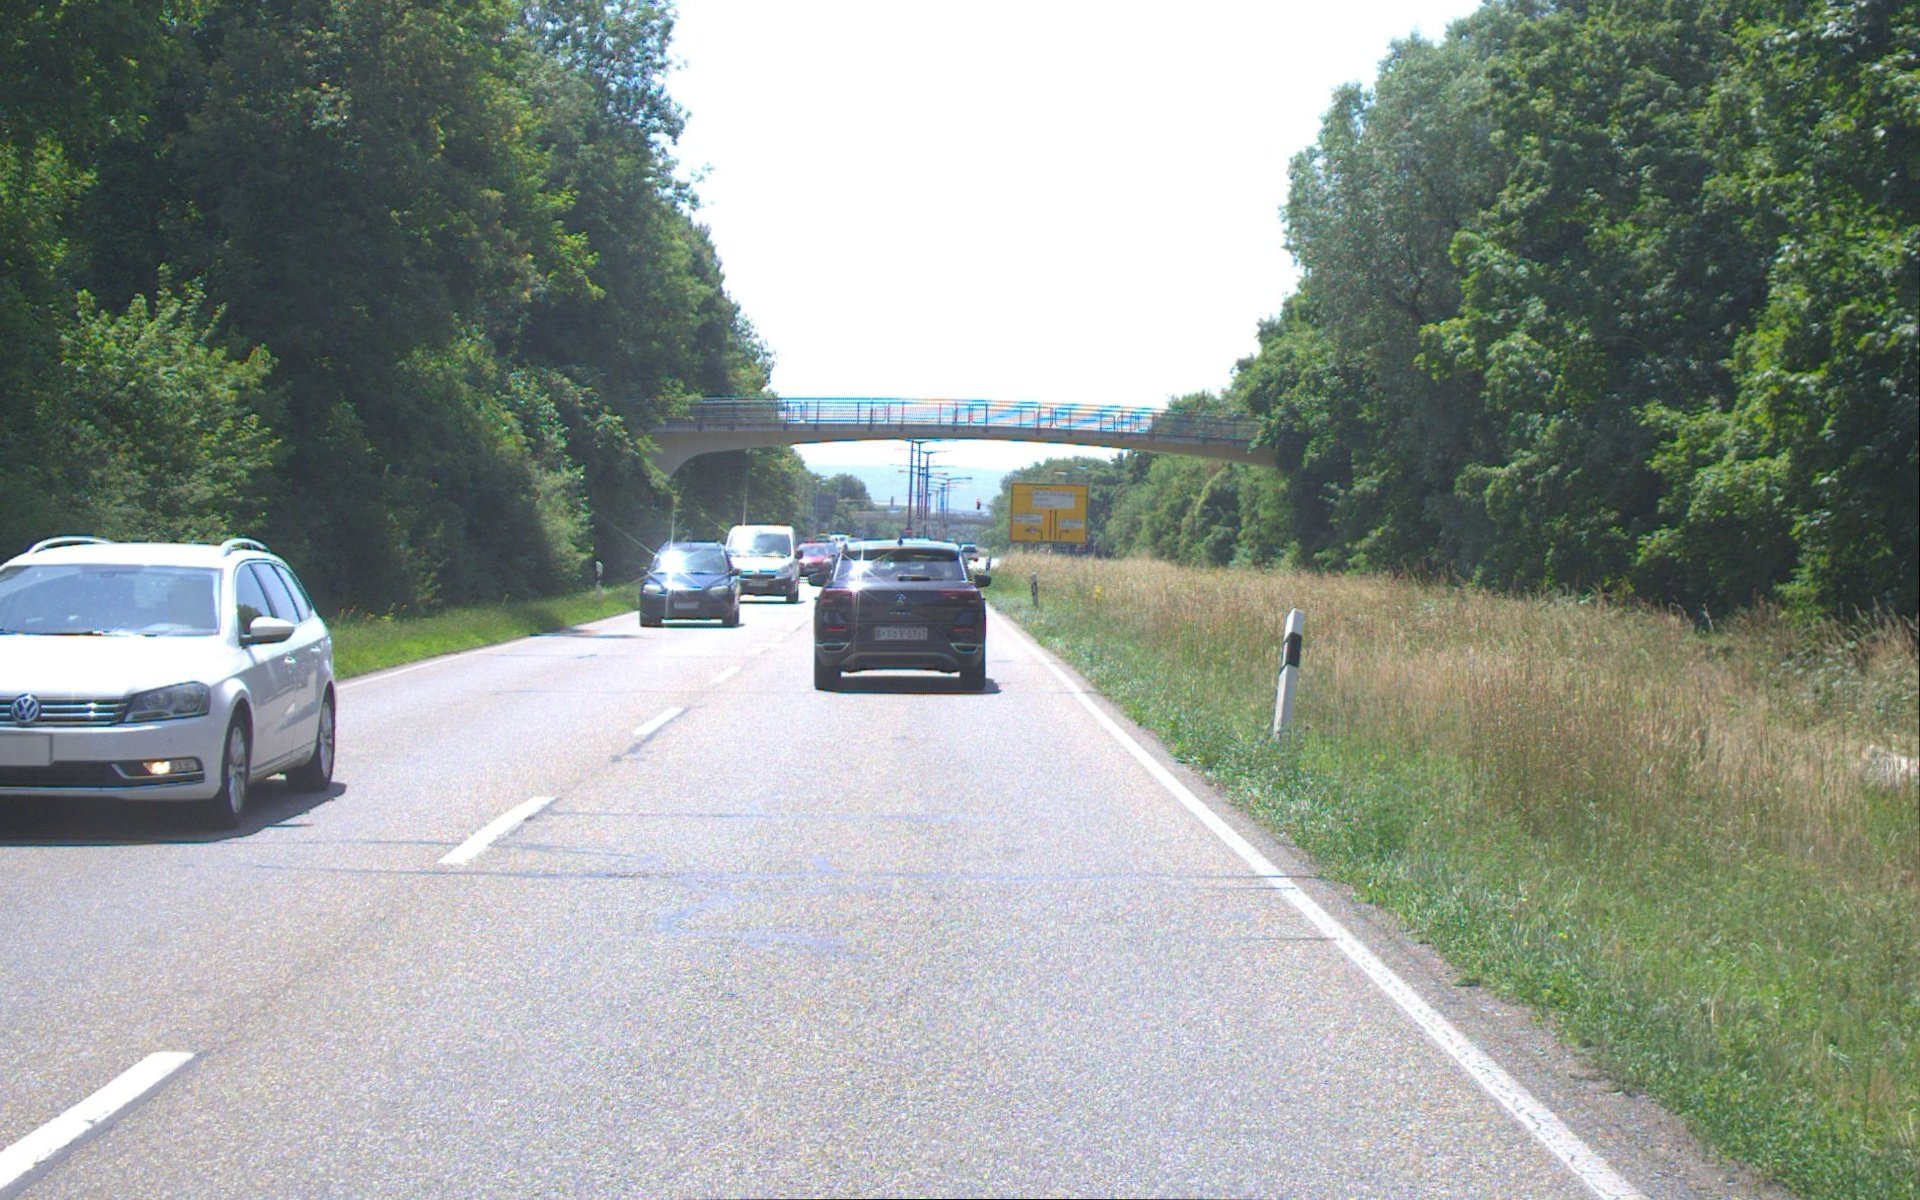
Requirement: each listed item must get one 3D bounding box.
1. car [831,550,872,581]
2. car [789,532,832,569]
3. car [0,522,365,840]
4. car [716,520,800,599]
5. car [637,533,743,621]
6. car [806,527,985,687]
[{"bbox_3d":[-5.319,-1.698,168.956,1.784,1.444,4.109,0,1,1],"label":"car"},{"bbox_3d":[-6.201,-2.068,142.896,1.682,1.488,4.000,0,1,-1],"label":"car"},{"bbox_3d":[-4.561,0.342,18.976,1.839,1.531,4.659,0,1,-1],"label":"car"},{"bbox_3d":[-5.085,-1.047,87.030,1.875,1.922,4.988,1,1,-1],"label":"car"},{"bbox_3d":[-4.858,-0.427,62.297,1.672,1.513,4.000,1,1,-1],"label":"car"},{"bbox_3d":[-0.648,0.048,36.427,1.755,1.551,4.000,2,1,0],"label":"car"}]
